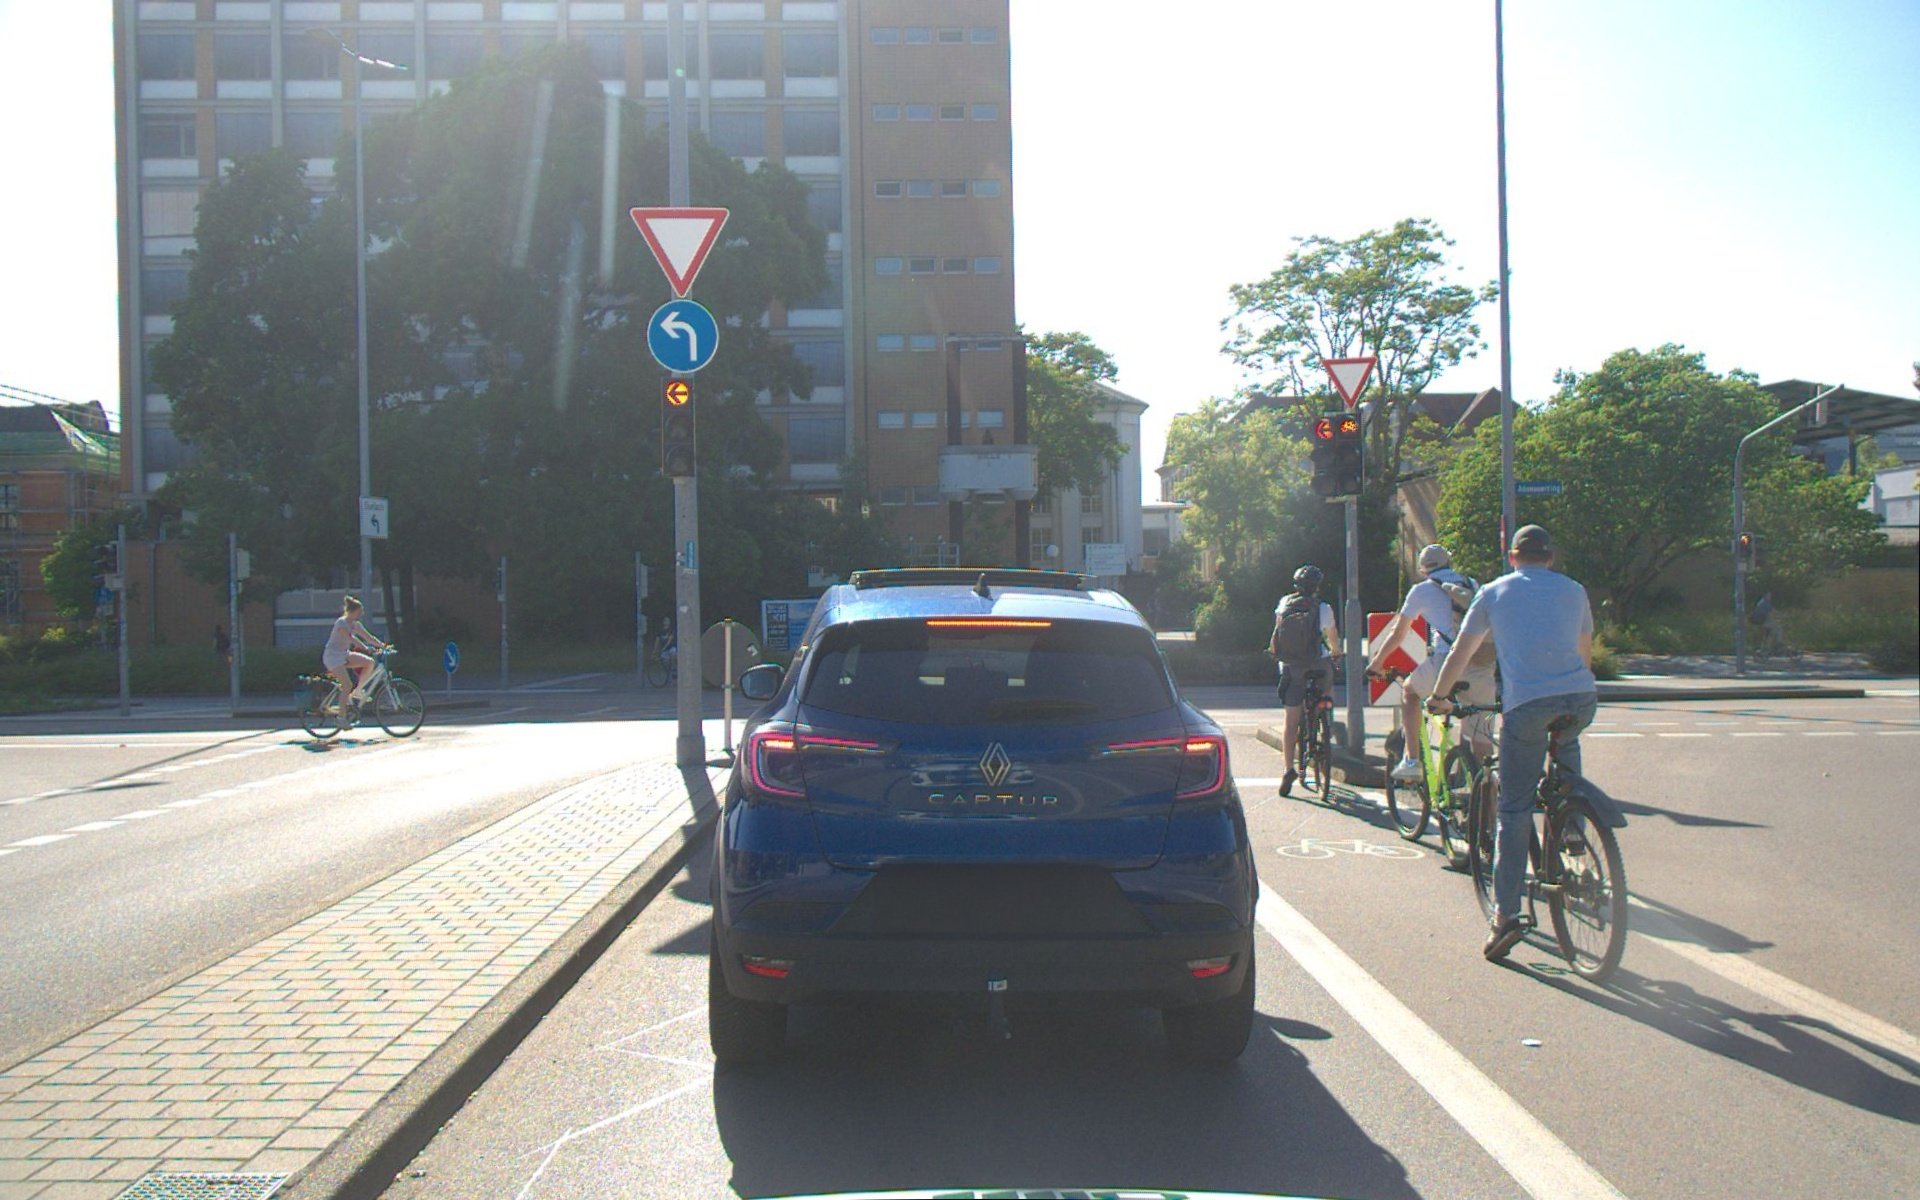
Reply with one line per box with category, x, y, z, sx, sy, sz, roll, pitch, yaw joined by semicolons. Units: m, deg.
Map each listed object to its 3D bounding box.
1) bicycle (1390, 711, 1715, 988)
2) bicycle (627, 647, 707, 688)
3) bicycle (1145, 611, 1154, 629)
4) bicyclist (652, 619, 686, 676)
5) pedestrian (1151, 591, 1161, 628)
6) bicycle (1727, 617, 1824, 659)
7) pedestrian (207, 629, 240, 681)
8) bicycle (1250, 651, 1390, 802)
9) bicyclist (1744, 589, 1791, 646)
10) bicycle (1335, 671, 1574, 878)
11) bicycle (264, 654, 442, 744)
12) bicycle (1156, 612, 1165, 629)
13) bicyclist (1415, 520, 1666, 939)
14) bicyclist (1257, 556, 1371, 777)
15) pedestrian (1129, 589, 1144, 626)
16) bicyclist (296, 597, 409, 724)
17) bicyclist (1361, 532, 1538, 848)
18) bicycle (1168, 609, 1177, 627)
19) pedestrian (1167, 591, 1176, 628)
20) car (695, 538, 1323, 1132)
bicycle;2.506;1.014;7.265;0.725;0.911;1.978;1;0;0
bicycle;-7.718;1.765;43.610;1.982;0.981;0.593;-1;0;-28
bicycle;10.794;1.147;94.215;0.397;0.990;1.684;1;0;3
bicyclist;-7.671;1.242;43.637;0.728;1.466;0.593;-1;0;-27
pedestrian;10.796;0.518;91.187;0.465;2.049;0.523;-1;0;5
bicycle;20.152;0.943;40.898;2.038;0.946;0.696;-2;1;2
pedestrian;-23.500;1.744;52.789;0.721;1.631;0.599;-1;0;12
bicycle;2.763;0.936;12.915;0.723;1.012;2.174;1;0;3
bicyclist;19.955;0.430;40.886;0.808;1.339;0.696;-2;1;1
bicycle;2.873;0.978;9.837;0.646;1.020;1.967;1;0;-6
bicycle;-7.596;1.234;20.732;1.942;1.012;0.742;-3;-1;9
bicycle;11.403;1.158;94.180;0.397;0.990;1.684;1;0;3
bicyclist;2.510;0.530;7.262;0.736;1.698;1.016;1;0;0
bicyclist;2.762;0.501;12.967;0.711;1.657;0.969;1;0;3
pedestrian;9.978;0.408;93.514;0.841;2.049;0.468;-1;0;5
bicyclist;-7.614;0.747;20.750;1.046;1.526;0.742;-3;-1;10
bicyclist;2.885;0.510;9.833;0.633;1.769;1.065;1;0;-6
bicycle;12.155;1.026;94.560;0.397;0.990;1.684;1;0;3
pedestrian;11.826;0.542;92.554;0.465;2.049;0.468;-1;0;5
car;0.063;0.668;6.673;1.767;1.660;3.998;1;0;-3
